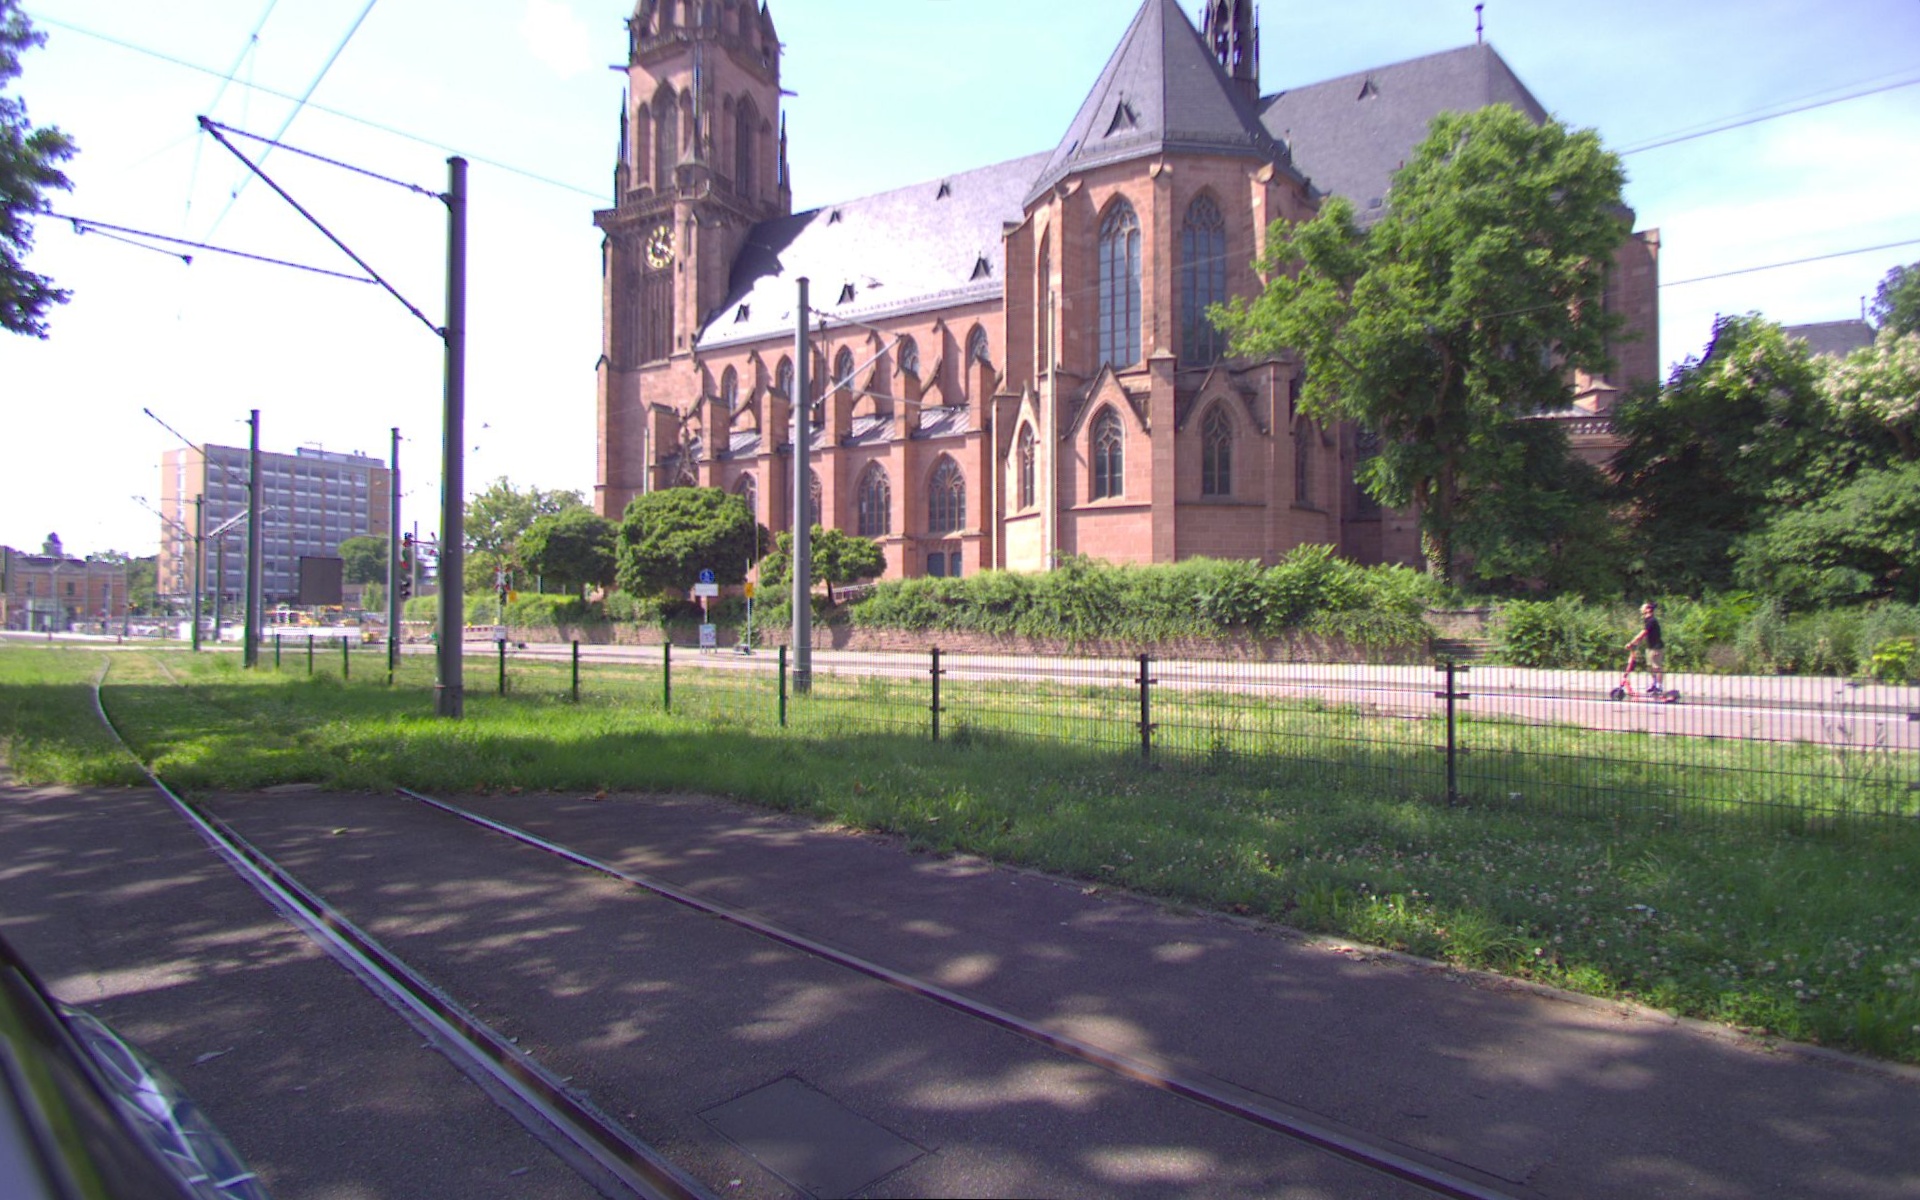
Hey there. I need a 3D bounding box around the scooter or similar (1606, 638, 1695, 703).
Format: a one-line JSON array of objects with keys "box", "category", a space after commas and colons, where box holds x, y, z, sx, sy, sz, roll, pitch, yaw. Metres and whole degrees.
[{"box": [13.507, 1.359, 19.814, 0.646, 1.213, 1.274, 1, -2, -34], "category": "scooter or similar"}]

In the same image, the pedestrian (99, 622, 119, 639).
[{"box": [-93.982, 3.391, 111.715, 1.420, 1.820, 1.409, -1, -2, 37], "category": "pedestrian"}]

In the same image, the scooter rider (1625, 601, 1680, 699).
[{"box": [13.540, 0.966, 19.792, 0.653, 1.881, 0.671, 1, -2, -34], "category": "scooter rider"}]

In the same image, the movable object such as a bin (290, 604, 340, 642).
[{"box": [-67.829, 2.445, 106.480, 2.904, 3.911, 3.327, 0, -2, 8], "category": "movable object such as a bin"}]
